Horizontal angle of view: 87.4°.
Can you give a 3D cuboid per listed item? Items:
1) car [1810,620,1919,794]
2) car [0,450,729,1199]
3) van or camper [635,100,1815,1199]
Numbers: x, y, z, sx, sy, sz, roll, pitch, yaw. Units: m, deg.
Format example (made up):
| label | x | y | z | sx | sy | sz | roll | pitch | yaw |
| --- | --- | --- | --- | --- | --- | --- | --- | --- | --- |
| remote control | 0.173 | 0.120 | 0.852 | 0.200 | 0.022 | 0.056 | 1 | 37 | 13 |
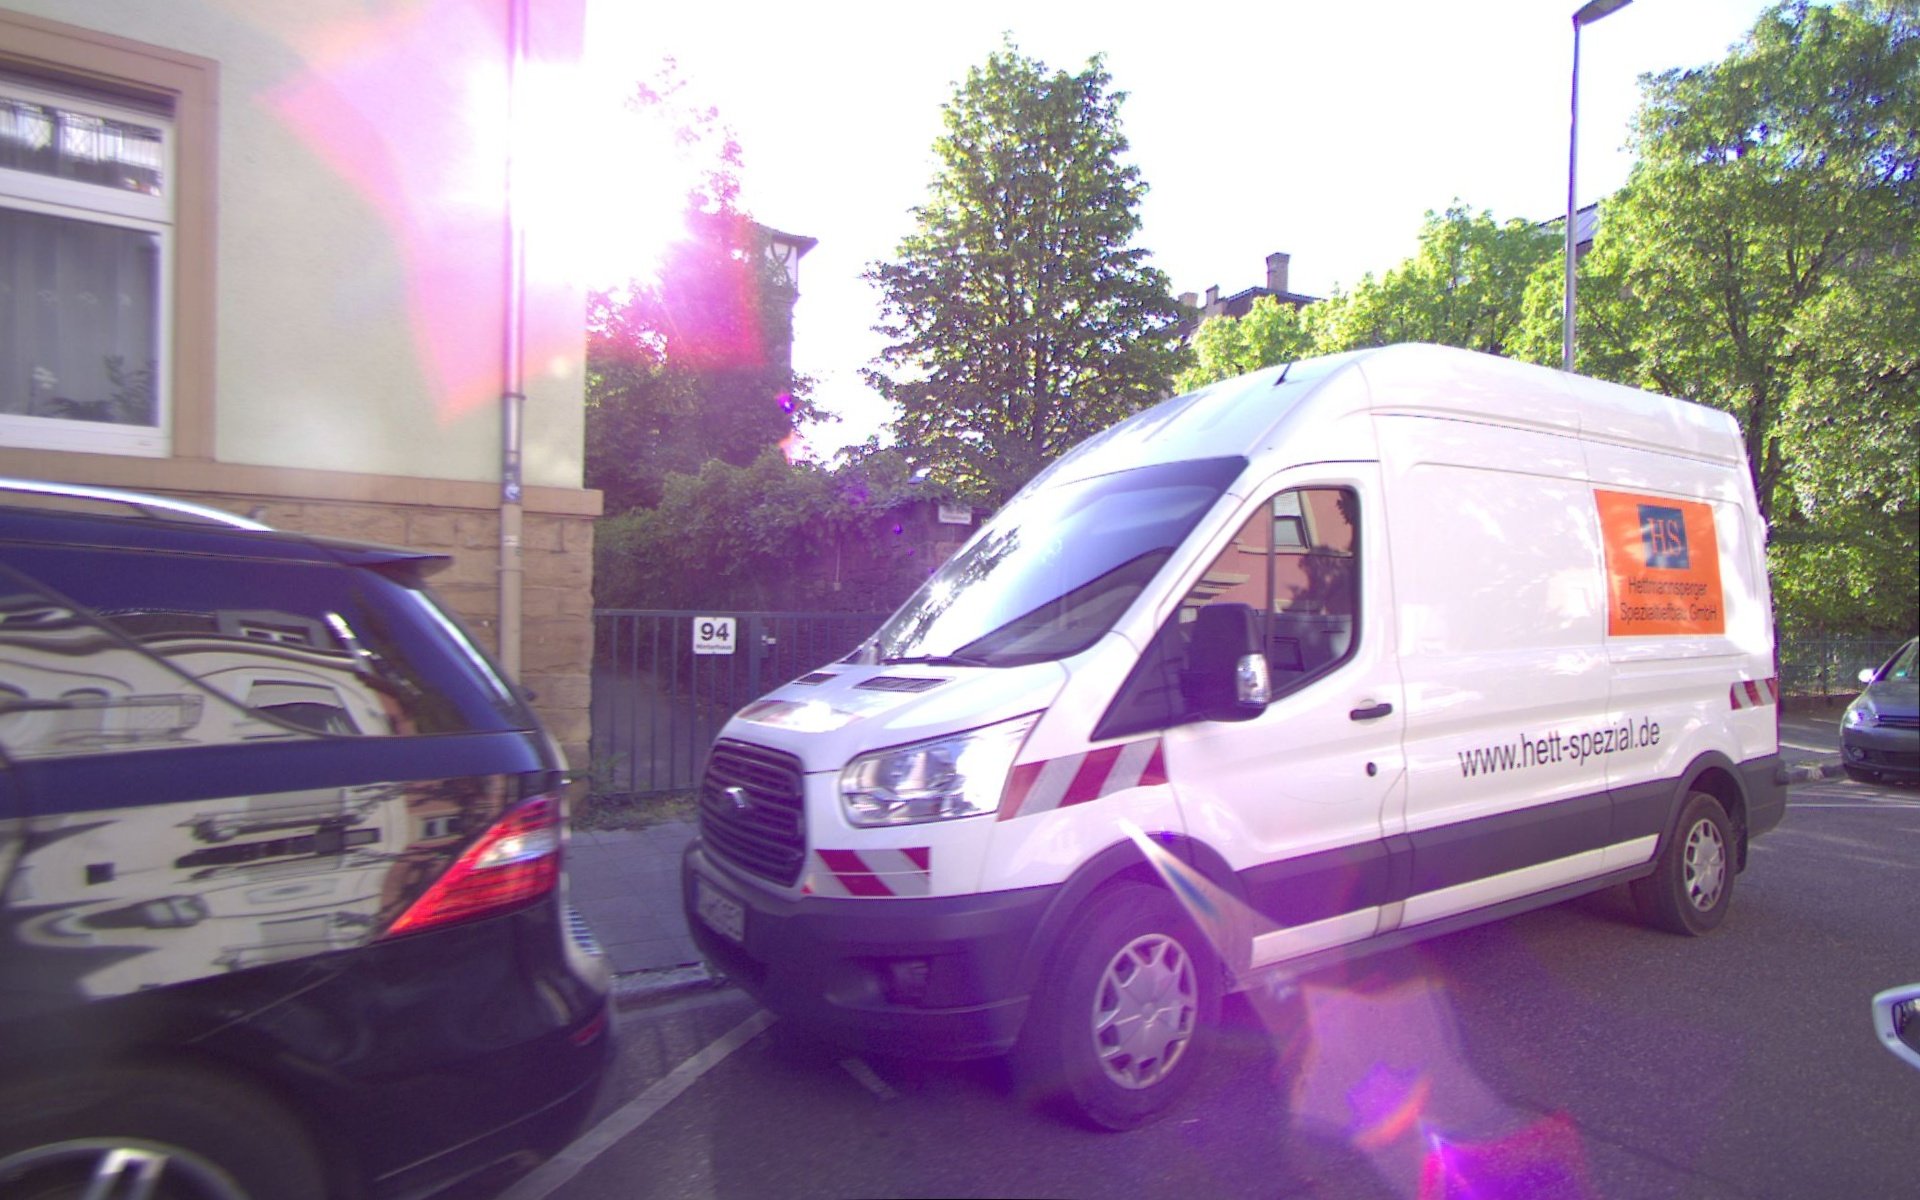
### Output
| label | x | y | z | sx | sy | sz | roll | pitch | yaw |
| --- | --- | --- | --- | --- | --- | --- | --- | --- | --- |
| car | 10.786 | 1.027 | 10.429 | 4.420 | 1.611 | 1.770 | 1 | -3 | -33 |
| car | -3.038 | 0.637 | 1.550 | 4.916 | 1.707 | 1.865 | 1 | -2 | -33 |
| van or camper | 1.651 | 0.299 | 4.827 | 5.788 | 2.805 | 2.117 | 1 | -2 | -33 |
